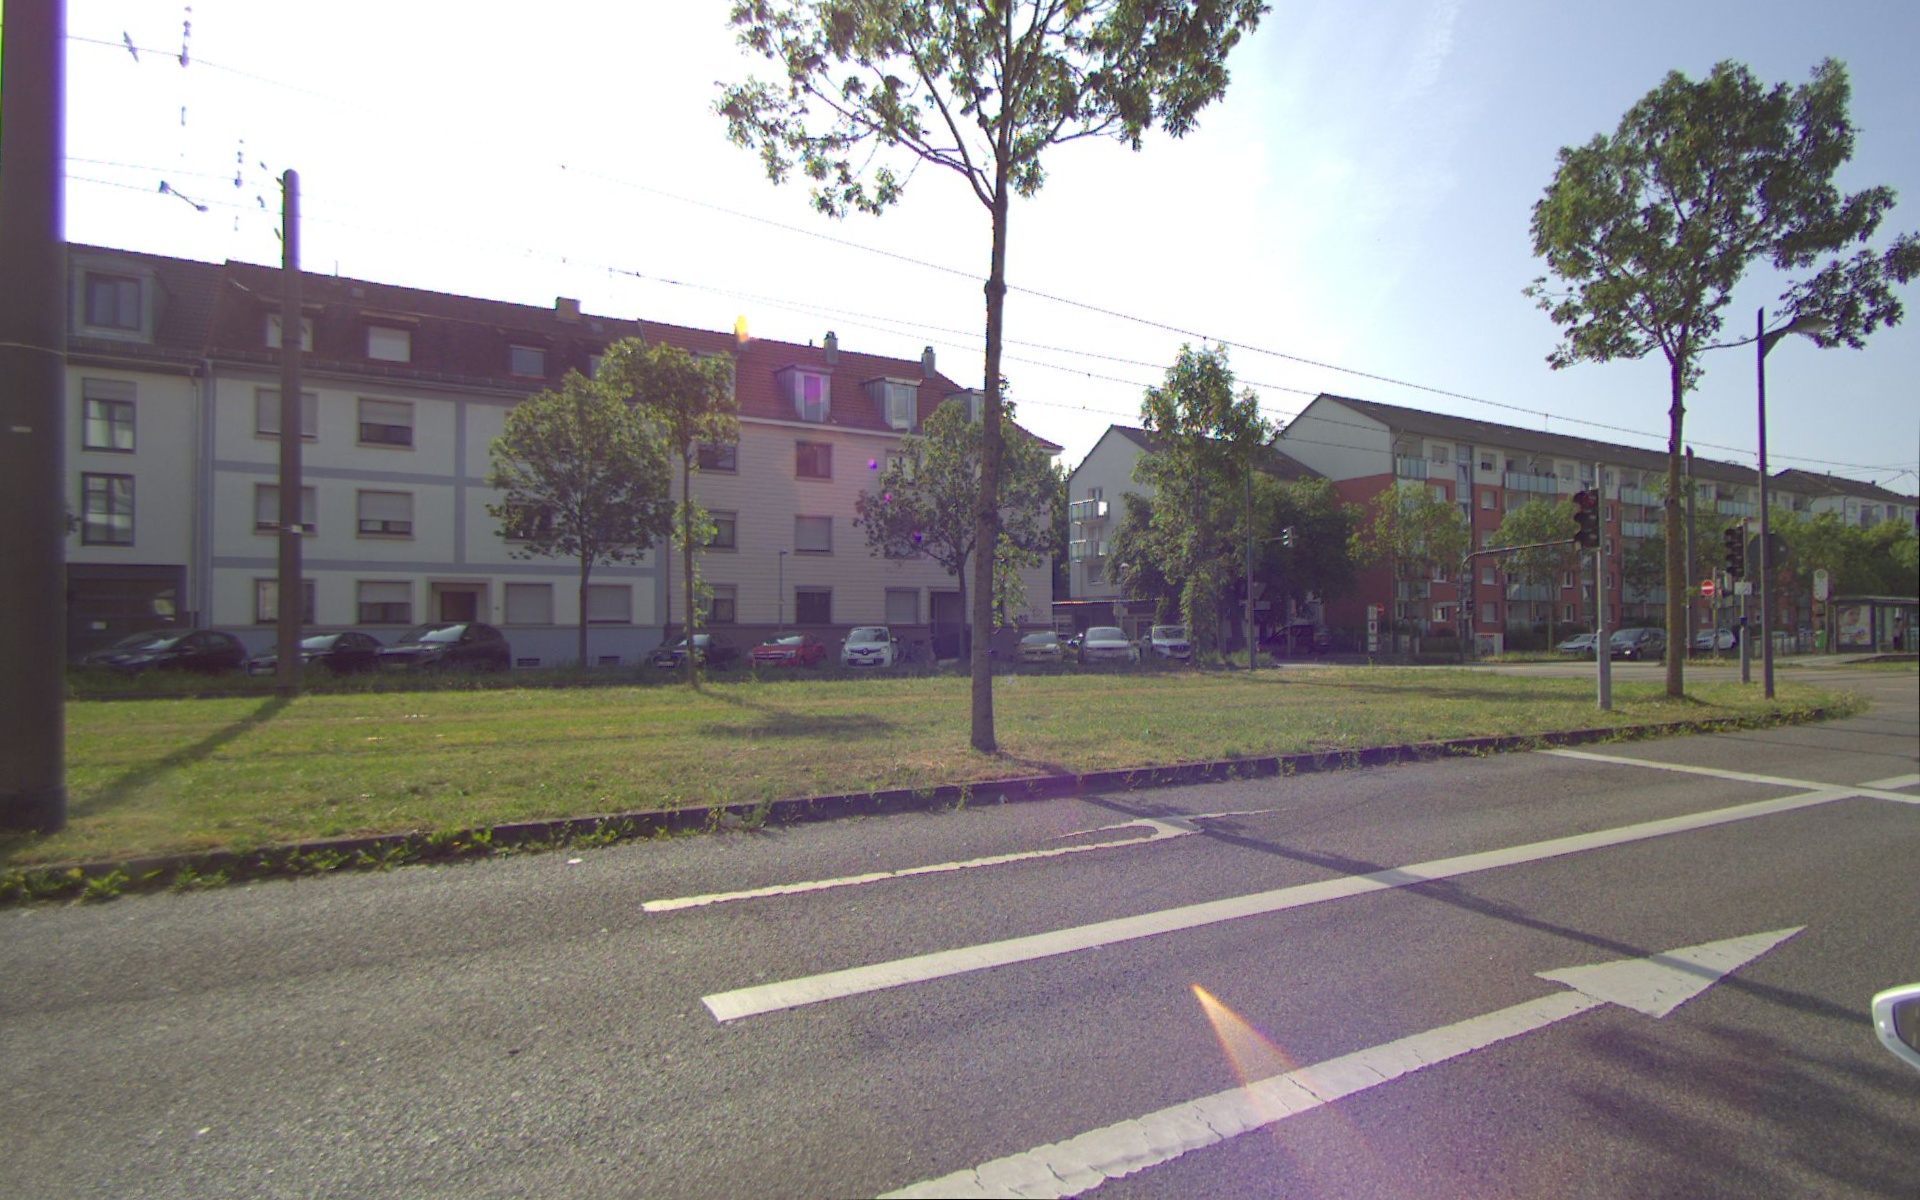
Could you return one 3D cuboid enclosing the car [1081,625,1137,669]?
[{"bbox_3d":[5.503,1.726,37.523,1.959,1.534,4.468,0,-2,7],"label":"car"}]

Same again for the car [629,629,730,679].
[{"bbox_3d":[-8.223,1.558,29.802,1.665,1.251,4.001,1,0,4],"label":"car"}]

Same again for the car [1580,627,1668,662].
[{"bbox_3d":[35.104,2.319,53.083,4.656,1.728,1.985,1,-1,-30],"label":"car"}]

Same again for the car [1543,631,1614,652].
[{"bbox_3d":[35.930,2.391,58.314,4.117,1.163,1.824,1,0,-31],"label":"car"}]

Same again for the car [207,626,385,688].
[{"bbox_3d":[-16.326,1.364,24.975,1.962,1.305,3.998,1,0,-4],"label":"car"}]

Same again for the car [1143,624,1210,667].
[{"bbox_3d":[8.469,1.737,39.583,1.924,1.483,4.355,1,0,3],"label":"car"}]

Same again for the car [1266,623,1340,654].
[{"bbox_3d":[20.778,2.320,61.058,1.976,1.717,3.970,1,0,-29],"label":"car"}]

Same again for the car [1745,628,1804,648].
[{"bbox_3d":[57.816,2.686,71.302,4.022,1.378,1.971,1,0,-31],"label":"car"}]

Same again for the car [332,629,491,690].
[{"bbox_3d":[-13.896,1.457,25.740,1.961,1.305,4.058,1,0,-2],"label":"car"}]

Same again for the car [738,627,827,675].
[{"bbox_3d":[-5.460,1.549,31.393,1.838,1.275,4.001,1,0,3],"label":"car"}]

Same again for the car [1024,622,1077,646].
[{"bbox_3d":[6.189,2.306,69.232,1.797,1.495,3.972,1,0,-27],"label":"car"}]

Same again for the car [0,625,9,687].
[{"bbox_3d":[-22.091,1.231,20.639,1.632,1.394,3.779,1,0,-4],"label":"car"}]

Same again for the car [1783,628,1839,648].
[{"bbox_3d":[62.423,2.774,73.695,4.022,1.378,1.971,1,0,-31],"label":"car"}]

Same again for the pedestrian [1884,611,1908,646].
[{"bbox_3d":[45.855,1.410,49.219,0.786,1.675,0.667,1,-2,-34],"label":"pedestrian"}]

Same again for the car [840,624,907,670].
[{"bbox_3d":[-2.774,1.503,33.009,1.849,1.286,4.000,1,0,0],"label":"car"}]

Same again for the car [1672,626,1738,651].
[{"bbox_3d":[49.316,2.523,66.499,4.485,1.577,1.971,1,0,-31],"label":"car"}]

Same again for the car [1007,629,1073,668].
[{"bbox_3d":[2.990,1.735,36.675,1.959,1.194,4.002,1,0,11],"label":"car"}]

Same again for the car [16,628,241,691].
[{"bbox_3d":[-18.771,1.290,22.954,1.962,1.305,3.998,0,-2,-4],"label":"car"}]
